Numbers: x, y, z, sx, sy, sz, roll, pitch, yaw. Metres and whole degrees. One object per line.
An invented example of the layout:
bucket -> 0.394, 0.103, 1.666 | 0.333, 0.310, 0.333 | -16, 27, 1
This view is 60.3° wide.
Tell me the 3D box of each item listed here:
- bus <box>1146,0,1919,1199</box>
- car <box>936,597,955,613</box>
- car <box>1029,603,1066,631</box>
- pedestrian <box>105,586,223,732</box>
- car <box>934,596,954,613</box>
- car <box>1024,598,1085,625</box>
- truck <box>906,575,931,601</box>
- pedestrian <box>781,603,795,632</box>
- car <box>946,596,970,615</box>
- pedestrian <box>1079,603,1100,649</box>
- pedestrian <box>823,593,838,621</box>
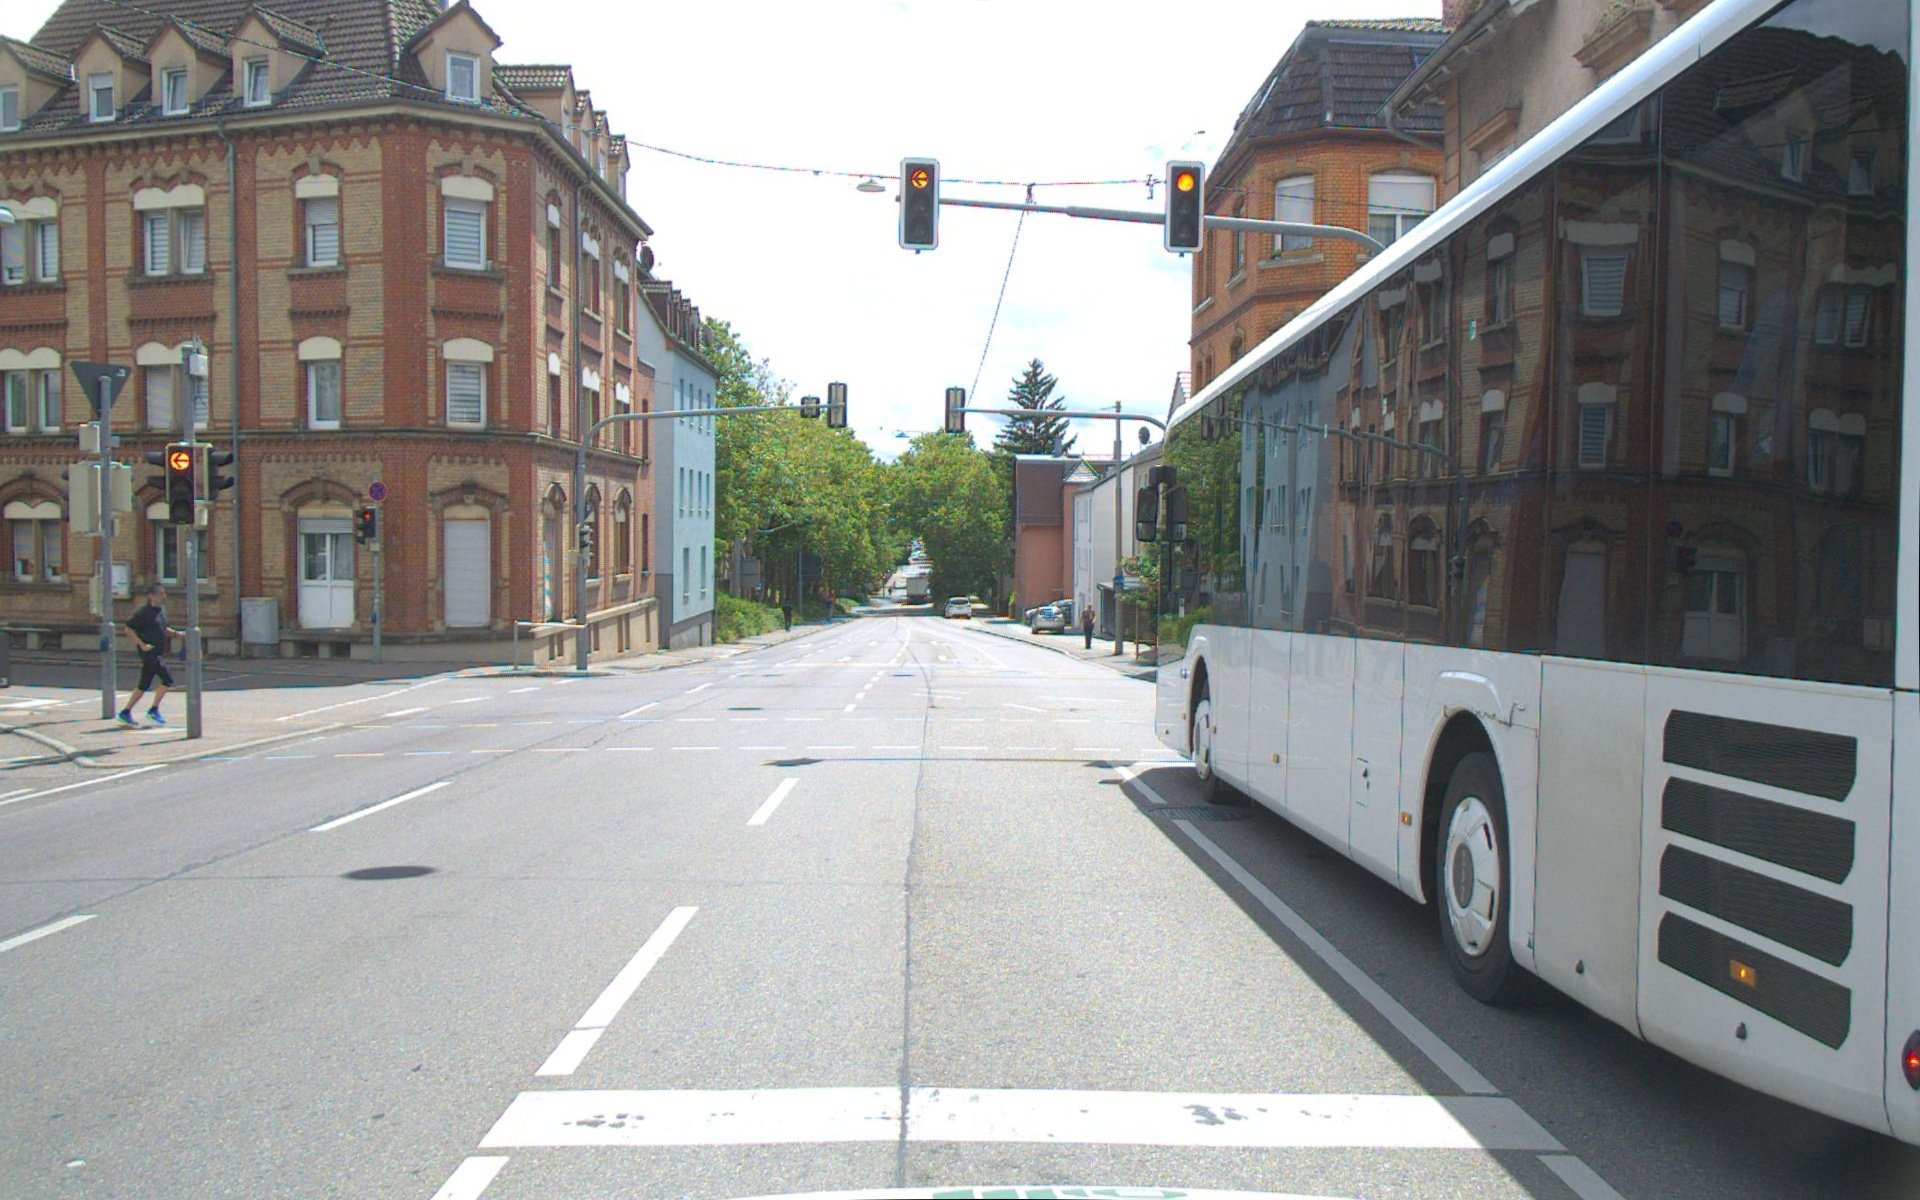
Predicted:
bus -> 3.130, -0.144, 9.251 | 2.618, 3.211, 12.459 | 0, 0, -1
car -> -1.337, 0.503, 153.896 | 1.757, 1.434, 4.418 | 1, 0, 0
car -> 4.913, 0.940, 93.123 | 1.758, 1.434, 3.999 | -1, 1, -2
pedestrian -> -9.846, 0.712, 20.489 | 1.118, 1.765, 0.758 | 0, 0, -5
car -> -1.407, 0.393, 145.790 | 1.757, 1.434, 4.418 | 1, 0, 0
car -> 6.486, 0.771, 113.249 | 3.909, 1.788, 1.998 | -1, 0, -6
truck -> -5.188, -1.498, 205.432 | 2.868, 3.135, 7.881 | -1, 0, -3
pedestrian -> -9.510, 0.945, 91.379 | 0.714, 1.592, 0.560 | 0, 0, -2
car -> -0.168, 0.446, 129.437 | 1.758, 1.434, 3.999 | 1, 0, -1
pedestrian -> 5.064, 1.005, 64.742 | 0.723, 1.781, 0.619 | -1, 0, -1
pedestrian -> -9.557, 0.504, 122.089 | 0.974, 2.049, 1.188 | 0, 0, -1
